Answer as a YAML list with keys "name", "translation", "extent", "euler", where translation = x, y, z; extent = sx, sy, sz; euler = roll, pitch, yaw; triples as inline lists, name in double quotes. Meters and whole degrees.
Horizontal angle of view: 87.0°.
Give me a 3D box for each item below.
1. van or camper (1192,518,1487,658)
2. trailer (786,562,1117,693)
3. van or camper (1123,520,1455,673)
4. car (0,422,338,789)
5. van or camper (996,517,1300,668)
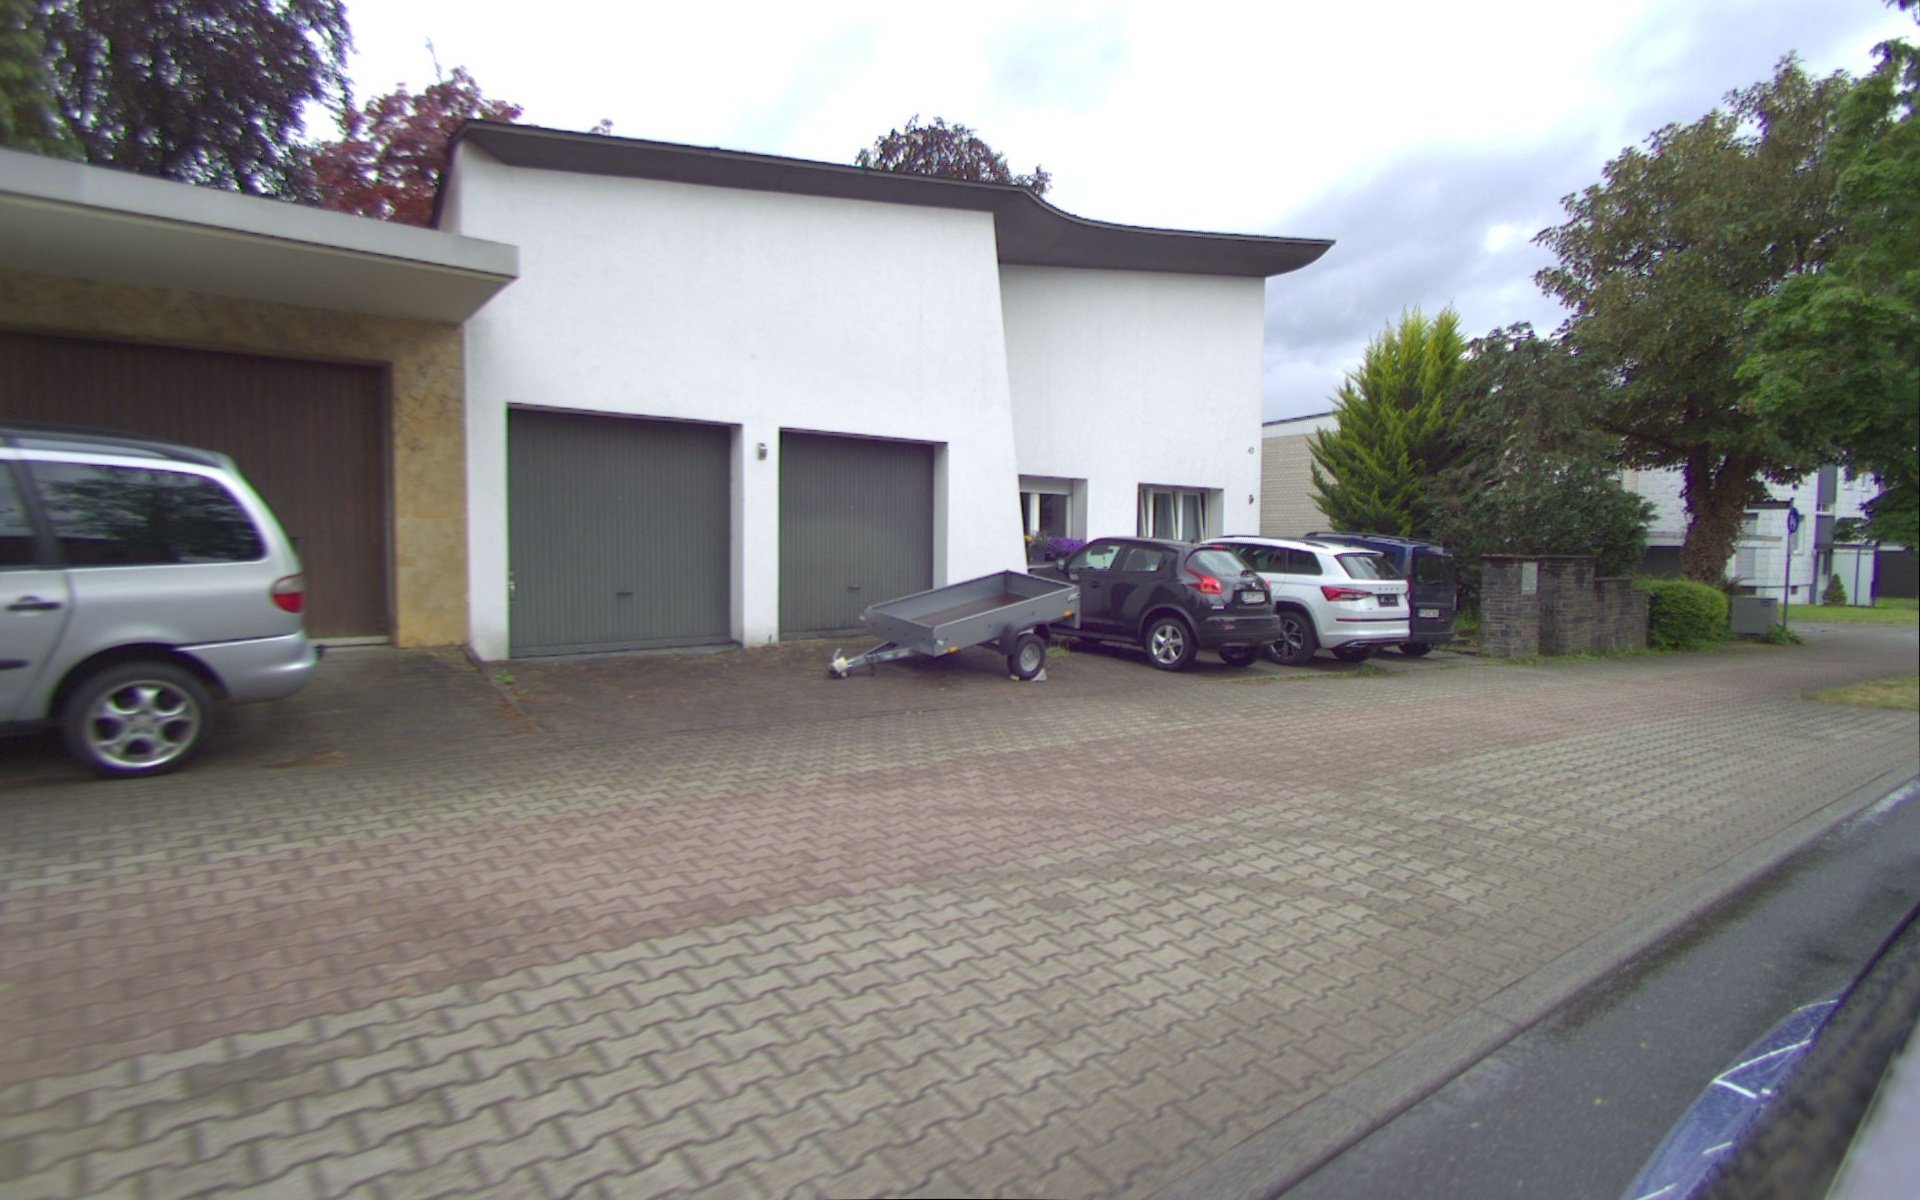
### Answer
- name: "van or camper"
  translation: [6.012, -0.302, 16.484]
  extent: [1.910, 1.809, 4.032]
  euler: [0, 6, -35]
- name: "trailer"
  translation: [-0.001, 0.185, 10.387]
  extent: [3.220, 0.931, 1.424]
  euler: [-2, 11, -43]
- name: "van or camper"
  translation: [4.578, -0.171, 14.597]
  extent: [2.084, 1.697, 4.002]
  euler: [0, 6, -37]
- name: "car"
  translation: [-5.987, -0.002, 4.889]
  extent: [4.858, 1.779, 1.797]
  euler: [-1, 3, -42]
- name: "van or camper"
  translation: [2.293, -0.195, 12.921]
  extent: [1.739, 1.574, 3.409]
  euler: [-1, 5, -42]
